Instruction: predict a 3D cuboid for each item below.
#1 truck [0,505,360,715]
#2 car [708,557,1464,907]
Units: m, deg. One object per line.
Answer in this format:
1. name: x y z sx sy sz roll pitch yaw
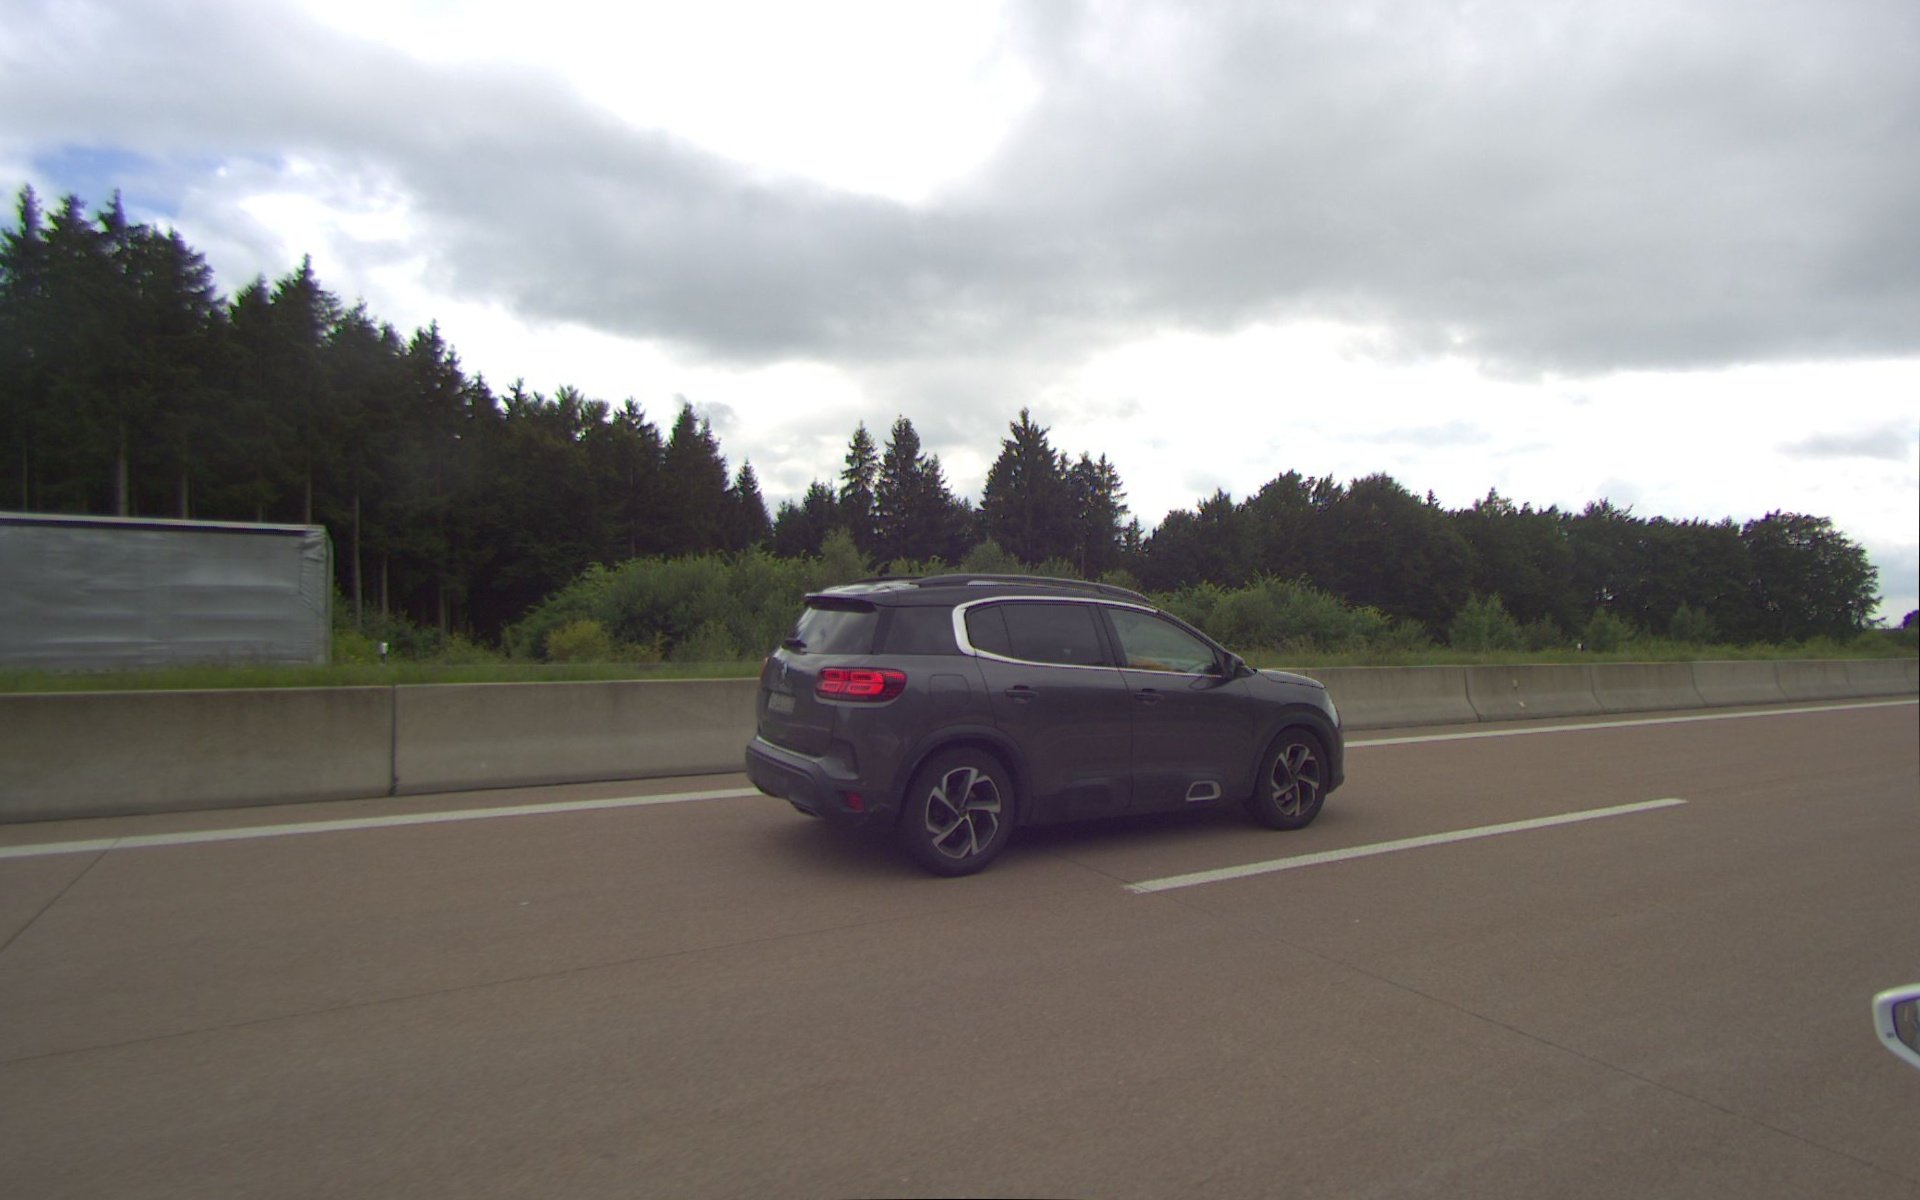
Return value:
1. truck: -14.227 0.131 16.506 7.395 3.141 2.345 1 1 -31
2. car: 1.067 0.703 7.126 5.191 1.721 1.984 1 0 -30
